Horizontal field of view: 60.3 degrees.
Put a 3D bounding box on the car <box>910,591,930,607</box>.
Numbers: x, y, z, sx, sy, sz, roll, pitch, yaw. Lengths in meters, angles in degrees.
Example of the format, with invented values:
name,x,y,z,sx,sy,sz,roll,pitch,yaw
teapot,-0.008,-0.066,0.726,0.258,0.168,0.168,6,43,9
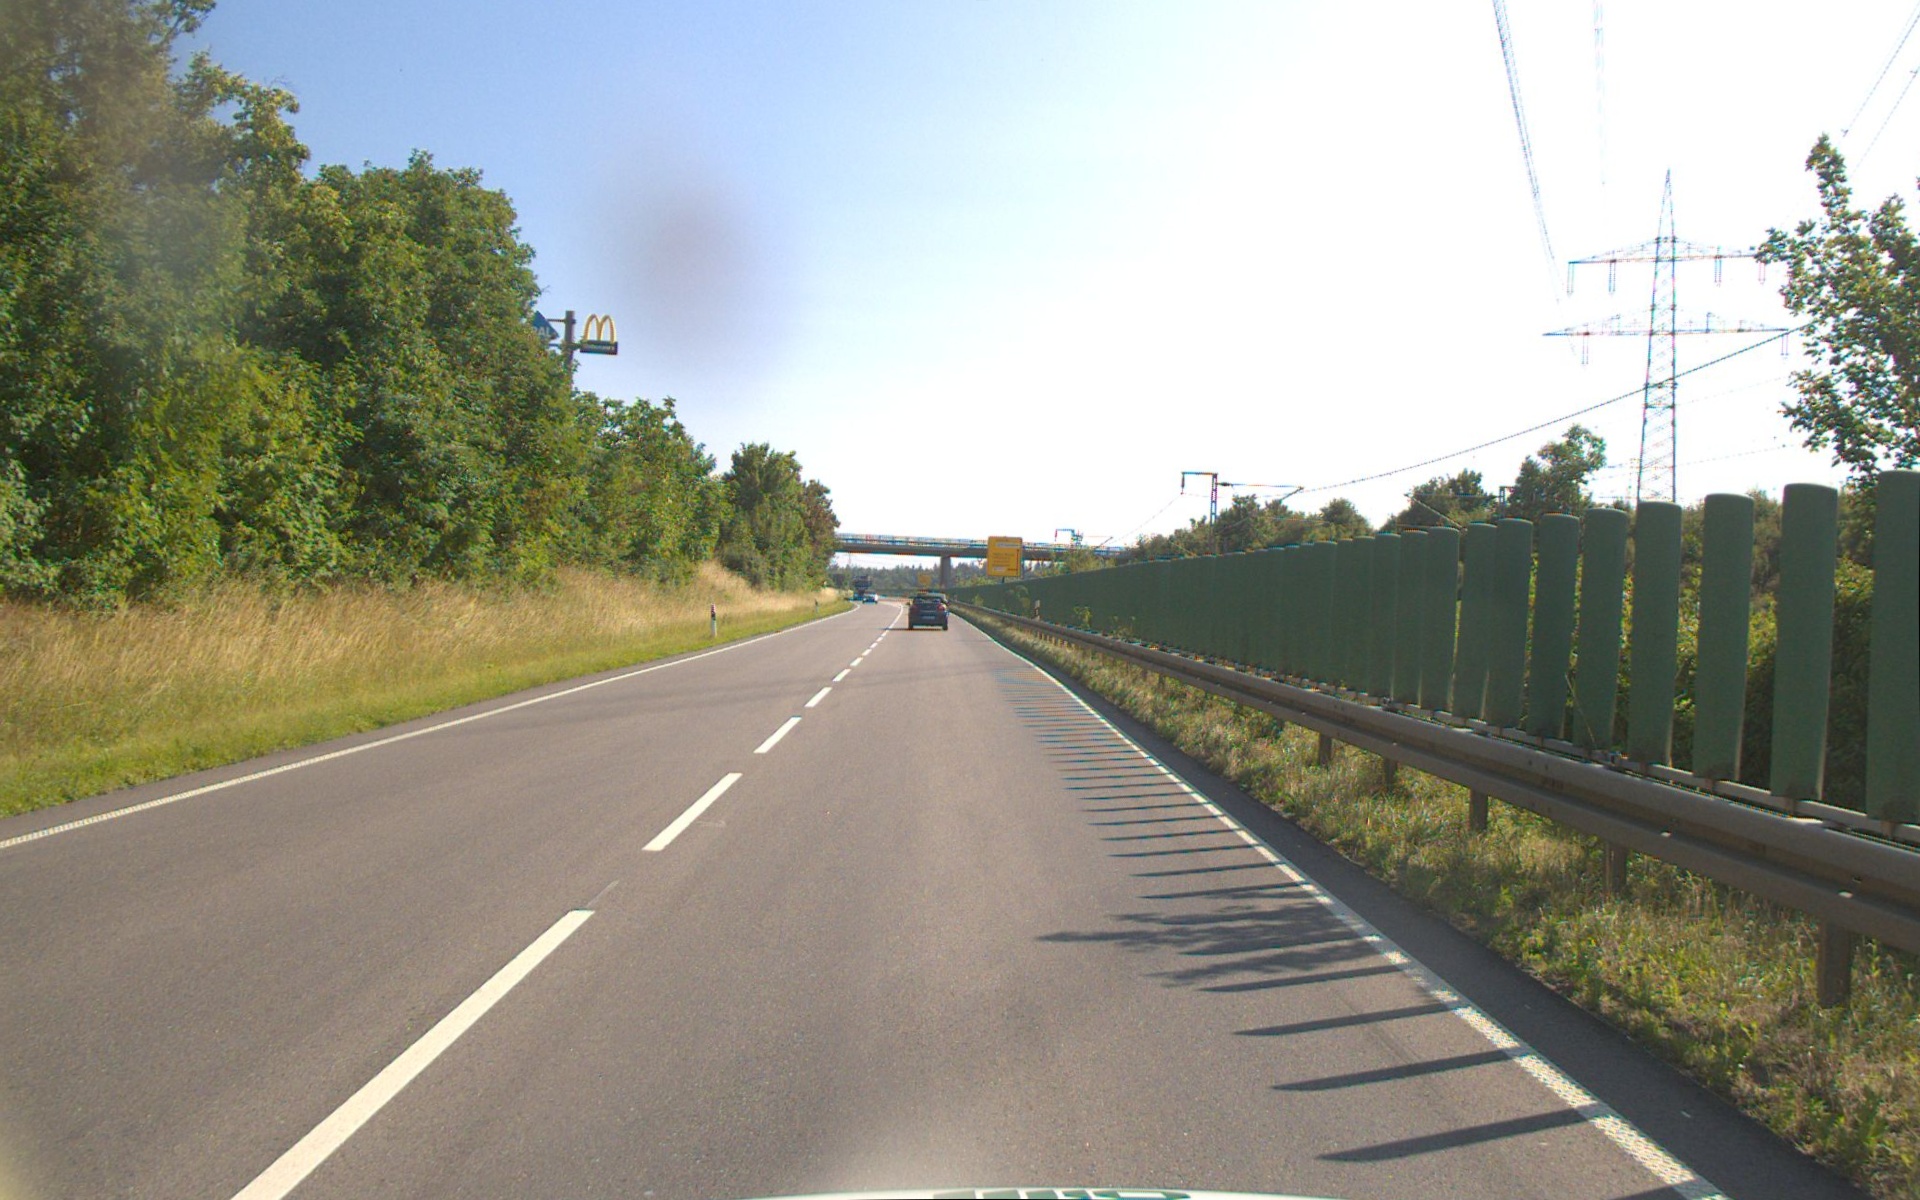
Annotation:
name,x,y,z,sx,sy,sz,roll,pitch,yaw
car,-3.875,-0.085,159.086,1.857,1.443,3.998,1,0,-3

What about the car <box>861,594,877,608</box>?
name,x,y,z,sx,sy,sz,roll,pitch,yaw
car,-10.632,0.113,192.582,1.760,1.621,3.998,1,0,-3

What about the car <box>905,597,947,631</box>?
name,x,y,z,sx,sy,sz,roll,pitch,yaw
car,-1.414,0.556,67.605,1.630,1.283,3.998,1,0,-3

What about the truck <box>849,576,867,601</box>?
name,x,y,z,sx,sy,sz,roll,pitch,yaw
truck,-15.971,-1.817,259.496,2.508,3.753,10.482,1,0,-3
